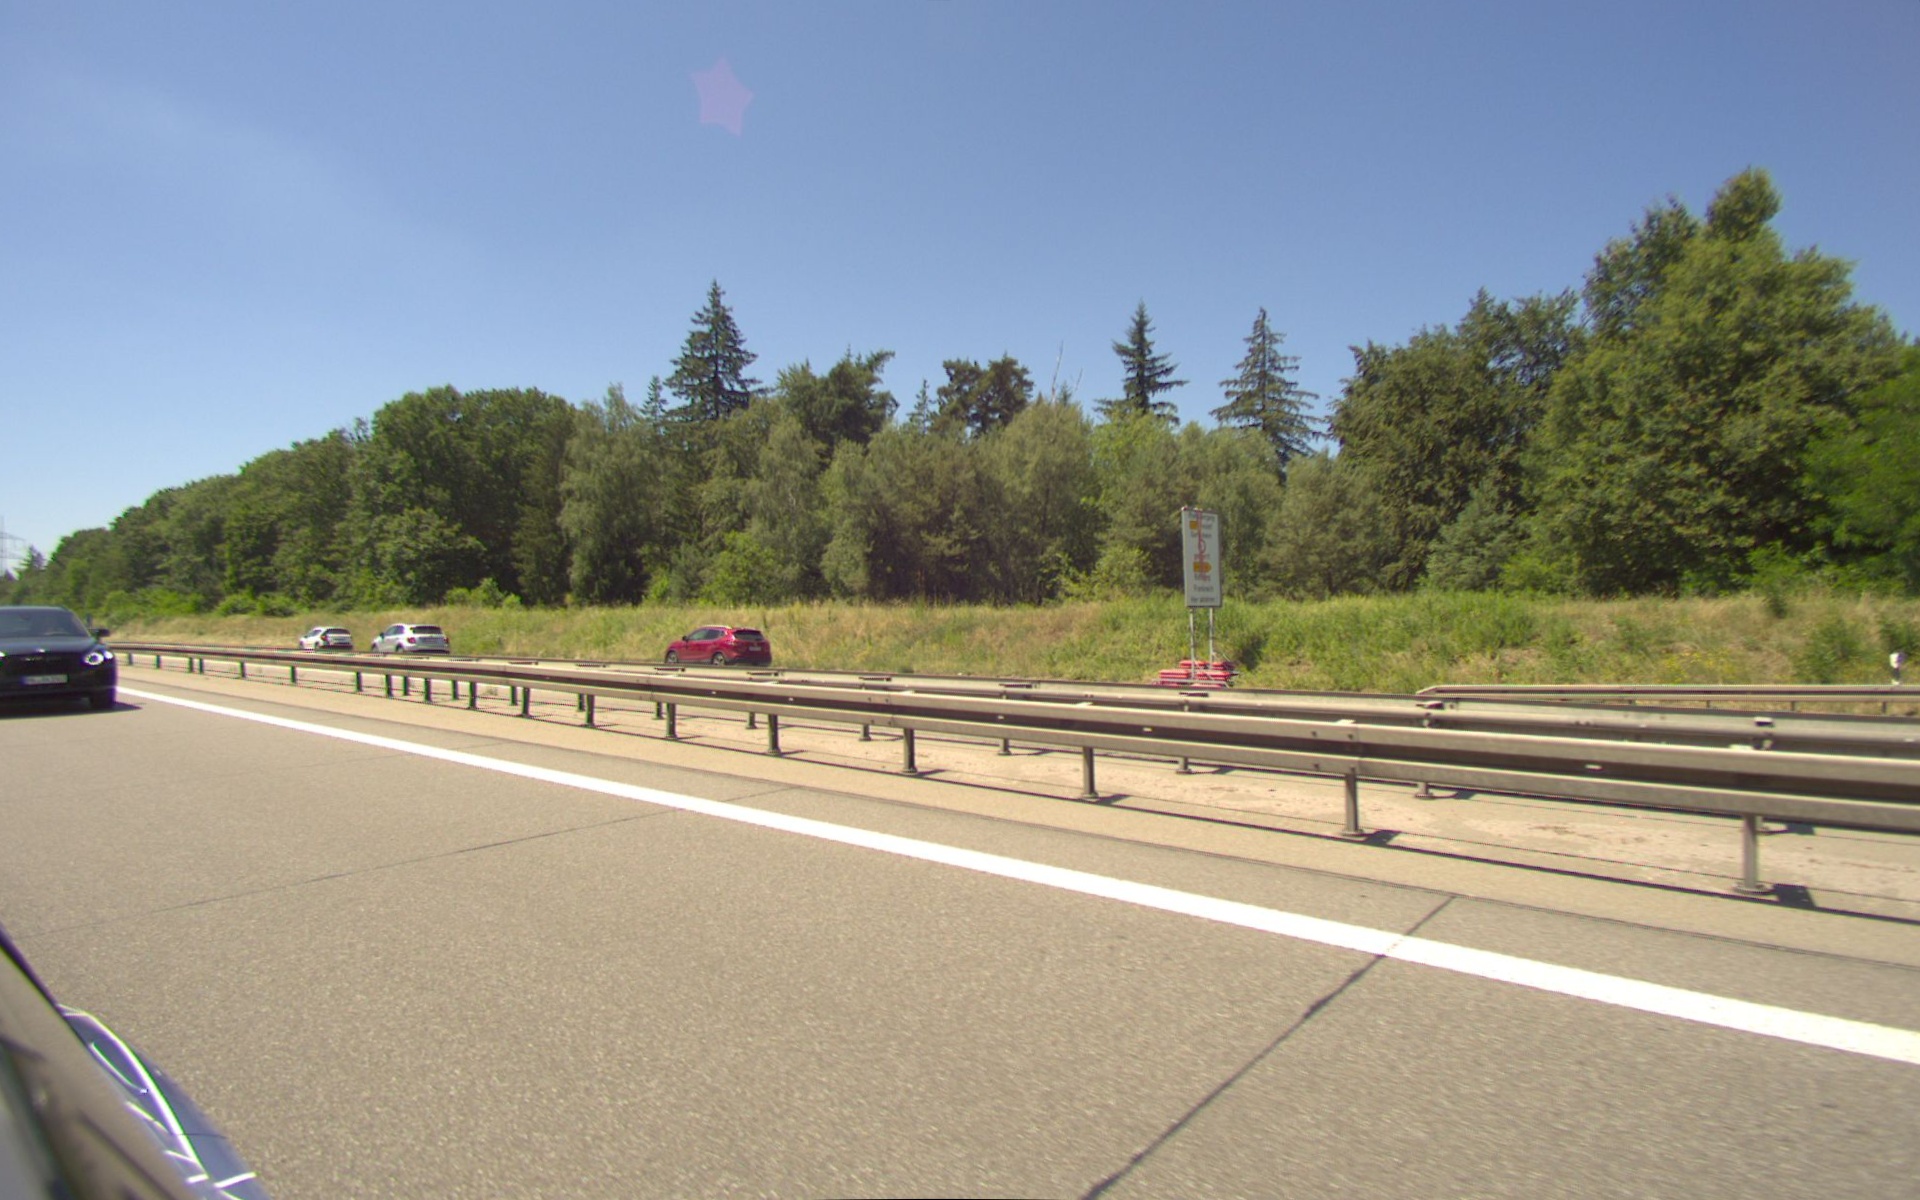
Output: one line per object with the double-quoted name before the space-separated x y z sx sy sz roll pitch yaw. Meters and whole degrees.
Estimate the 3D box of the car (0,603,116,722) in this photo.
"car" -16.371 1.018 17.374 5.808 1.765 1.921 -2 -1 40

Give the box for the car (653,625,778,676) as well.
"car" -8.159 1.659 33.563 4.609 1.603 1.629 -2 -4 41

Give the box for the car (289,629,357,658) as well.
"car" -36.130 2.453 57.372 4.900 1.528 1.776 -2 -4 40

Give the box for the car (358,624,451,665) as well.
"car" -21.880 1.741 39.804 4.557 1.510 1.630 -2 -4 40

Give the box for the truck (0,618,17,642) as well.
"truck" -145.782 4.578 153.447 10.434 3.545 2.704 -2 -4 40

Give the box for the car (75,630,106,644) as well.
"car" -91.540 3.848 106.522 4.594 1.420 1.654 -2 -4 40
